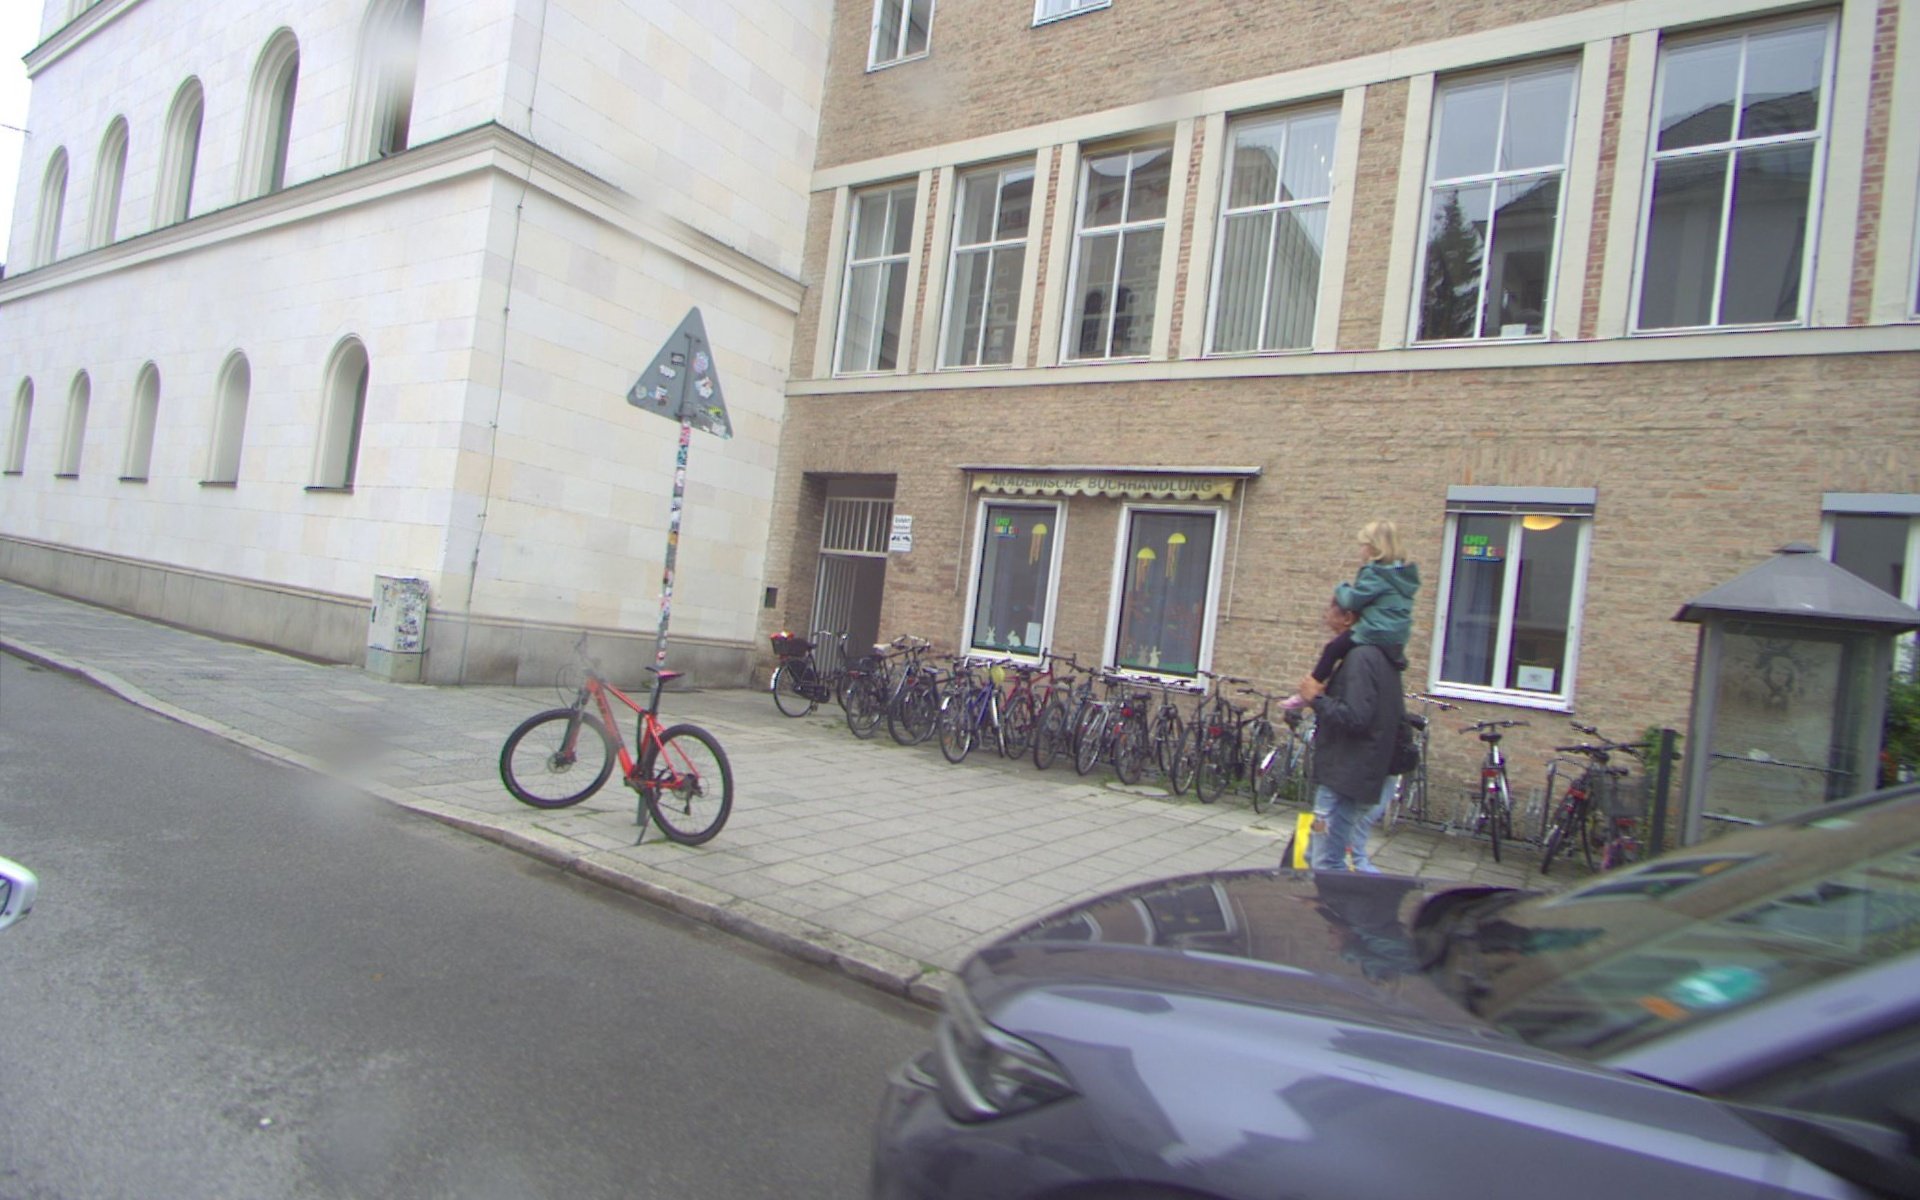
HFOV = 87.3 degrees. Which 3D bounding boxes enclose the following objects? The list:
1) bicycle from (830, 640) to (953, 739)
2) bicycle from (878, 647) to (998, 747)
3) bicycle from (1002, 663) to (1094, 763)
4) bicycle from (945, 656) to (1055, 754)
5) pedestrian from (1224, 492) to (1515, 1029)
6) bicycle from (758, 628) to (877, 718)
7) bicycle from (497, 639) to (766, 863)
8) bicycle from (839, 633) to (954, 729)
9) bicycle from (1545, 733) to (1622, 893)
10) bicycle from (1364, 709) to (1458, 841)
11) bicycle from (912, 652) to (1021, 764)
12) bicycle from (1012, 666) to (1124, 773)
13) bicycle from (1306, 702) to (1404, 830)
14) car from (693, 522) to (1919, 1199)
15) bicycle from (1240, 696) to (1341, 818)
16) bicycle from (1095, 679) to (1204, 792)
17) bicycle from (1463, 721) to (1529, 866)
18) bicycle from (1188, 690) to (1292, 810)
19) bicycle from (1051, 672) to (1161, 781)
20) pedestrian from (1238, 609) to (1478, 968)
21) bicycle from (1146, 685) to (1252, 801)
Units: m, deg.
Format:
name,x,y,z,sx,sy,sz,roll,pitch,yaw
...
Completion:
name,x,y,z,sx,sy,sz,roll,pitch,yaw
bicycle,-0.774,1.061,11.835,0.343,1.054,1.629,7,0,38
bicycle,-0.222,1.127,11.627,0.343,1.054,1.629,7,0,38
bicycle,1.041,1.296,11.657,0.343,1.054,1.431,7,0,32
bicycle,0.503,1.235,11.860,0.343,1.054,1.630,7,0,36
pedestrian,1.908,0.672,4.699,0.808,2.225,0.786,5,1,-43
bicycle,-1.784,0.955,12.851,0.343,1.054,1.629,7,0,38
bicycle,-1.981,0.850,5.994,1.605,1.055,0.348,6,2,22
bicycle,-0.766,1.029,12.587,0.343,1.108,1.629,7,0,38
bicycle,5.034,1.667,8.173,0.342,1.054,1.633,7,0,29
bicycle,4.122,1.539,9.140,0.343,1.054,1.630,7,0,36
bicycle,0.096,1.119,10.541,0.343,1.054,1.431,7,0,32
bicycle,1.218,1.298,11.049,0.343,1.054,1.630,7,0,36
bicycle,3.721,1.505,9.410,0.343,1.054,1.630,7,0,36
car,1.708,0.953,1.375,3.889,1.612,1.752,6,-2,30
bicycle,3.253,1.491,9.809,0.343,1.054,1.630,7,0,36
bicycle,2.001,1.386,10.490,0.343,1.054,1.630,7,0,36
bicycle,4.673,1.620,8.731,0.342,1.054,1.632,7,0,30
bicycle,2.810,1.456,9.999,0.343,1.054,1.630,7,0,36
bicycle,1.595,1.340,10.795,0.343,1.054,1.630,7,0,36
pedestrian,2.166,0.965,5.484,0.854,1.714,0.743,5,1,-40
bicycle,2.467,1.432,10.266,0.343,1.054,1.630,7,0,36
